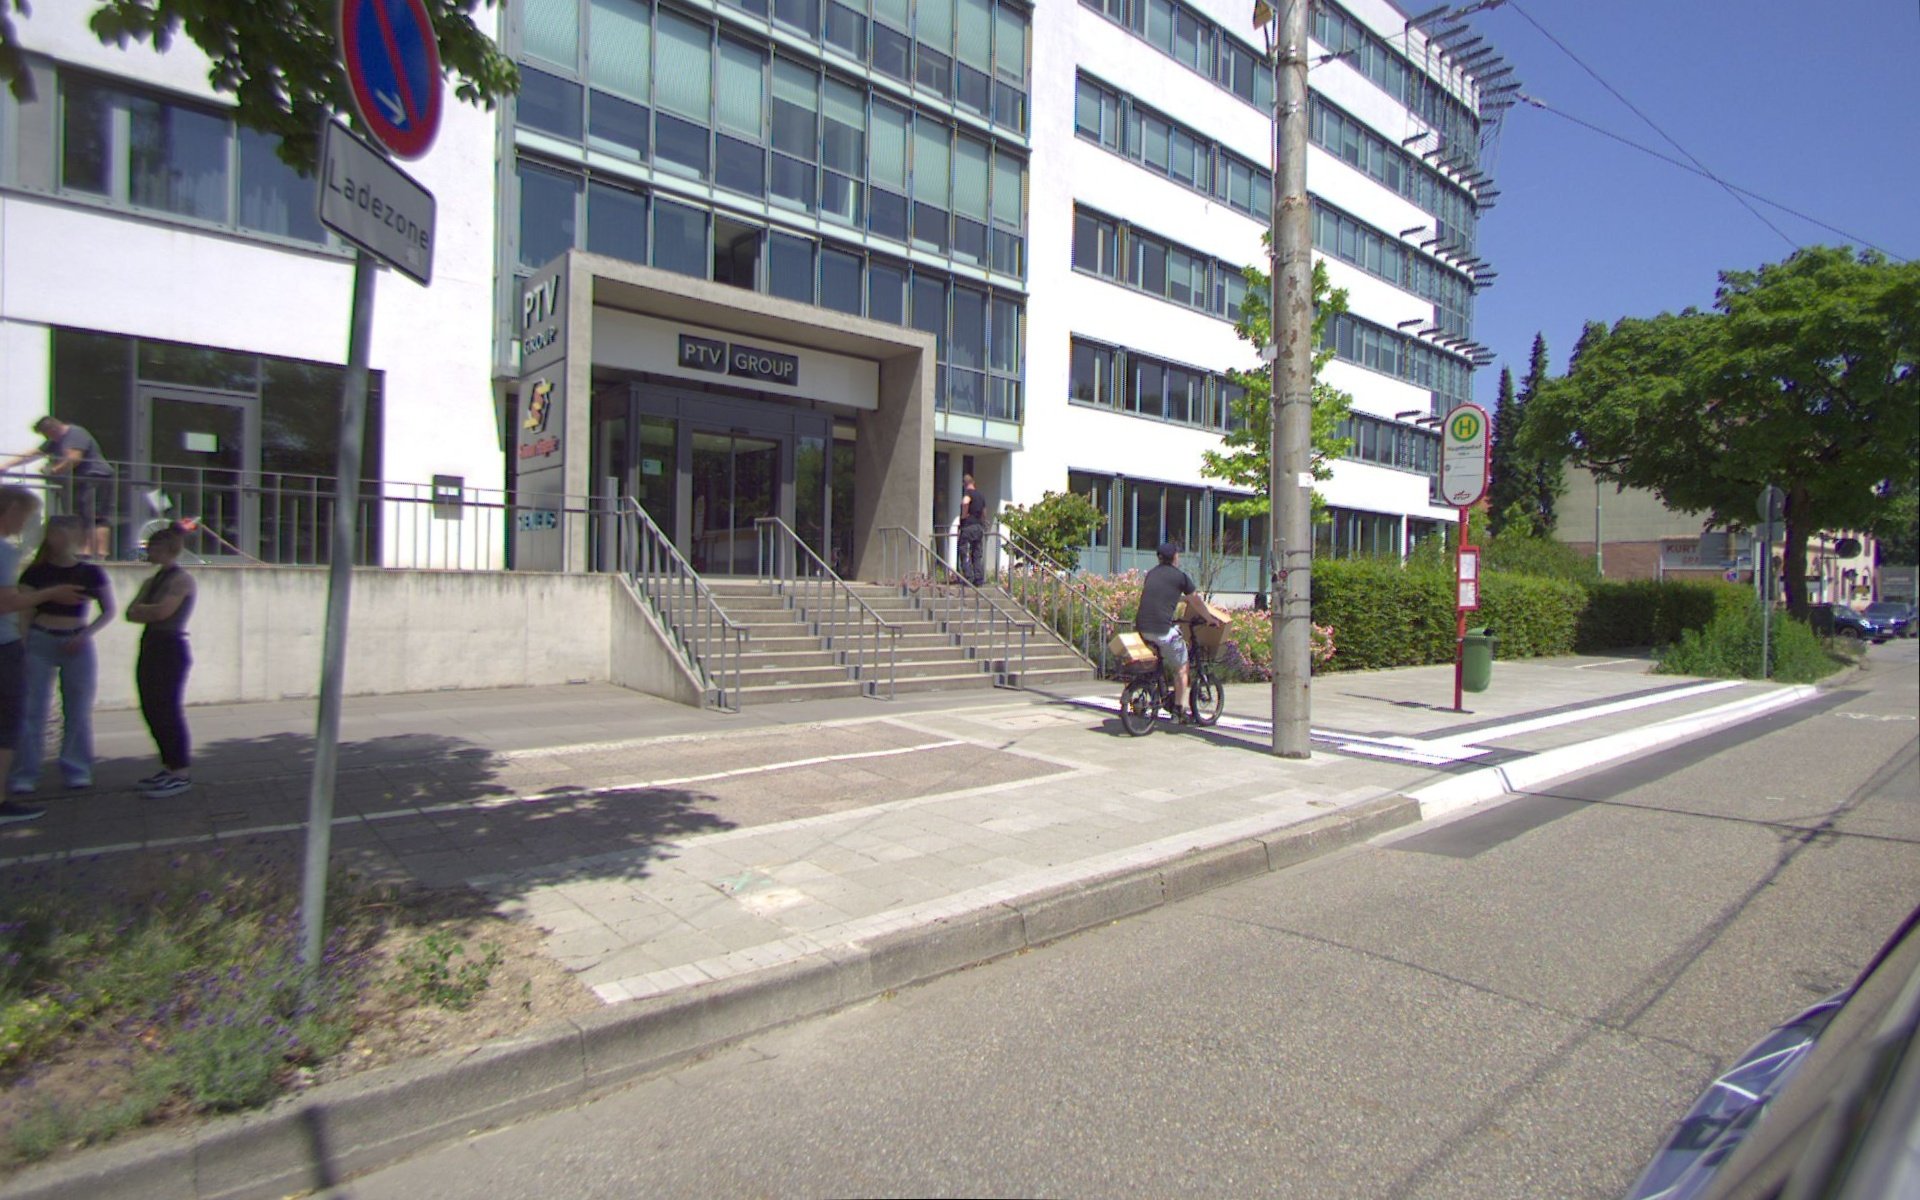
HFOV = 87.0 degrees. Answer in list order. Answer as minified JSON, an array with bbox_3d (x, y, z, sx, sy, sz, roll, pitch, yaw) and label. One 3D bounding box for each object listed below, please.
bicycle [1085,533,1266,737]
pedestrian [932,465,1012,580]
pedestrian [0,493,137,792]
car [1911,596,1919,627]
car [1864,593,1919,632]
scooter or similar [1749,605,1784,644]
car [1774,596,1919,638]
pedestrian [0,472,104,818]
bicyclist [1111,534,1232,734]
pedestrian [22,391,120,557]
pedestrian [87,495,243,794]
[{"bbox_3d":[2.102,0.288,9.756,1.778,1.807,0.692,-1,3,-38],"label":"bicycle"},{"bbox_3d":[0.169,-1.209,15.992,1.067,1.736,0.878,1,2,-11],"label":"pedestrian"},{"bbox_3d":[-5.550,0.230,6.236,0.532,1.736,0.562,2,2,20],"label":"pedestrian"},{"bbox_3d":[51.115,0.603,52.740,4.389,1.567,1.776,-1,3,-41],"label":"car"},{"bbox_3d":[45.542,0.576,49.002,4.991,1.713,1.929,0,3,-40],"label":"car"},{"bbox_3d":[25.602,0.776,32.132,1.127,1.238,0.327,0,-1,-20],"label":"scooter or similar"},{"bbox_3d":[33.071,0.582,37.760,1.667,1.389,3.936,0,1,-17],"label":"car"},{"bbox_3d":[-5.304,0.220,5.554,0.671,1.818,0.671,2,2,18],"label":"pedestrian"},{"bbox_3d":[2.028,0.288,9.706,0.871,1.821,0.698,0,3,-38],"label":"bicyclist"},{"bbox_3d":[-10.091,-1.383,11.505,0.794,1.738,0.879,1,-1,-42],"label":"pedestrian"},{"bbox_3d":[-4.865,0.242,6.210,0.532,1.736,0.562,2,2,20],"label":"pedestrian"}]
